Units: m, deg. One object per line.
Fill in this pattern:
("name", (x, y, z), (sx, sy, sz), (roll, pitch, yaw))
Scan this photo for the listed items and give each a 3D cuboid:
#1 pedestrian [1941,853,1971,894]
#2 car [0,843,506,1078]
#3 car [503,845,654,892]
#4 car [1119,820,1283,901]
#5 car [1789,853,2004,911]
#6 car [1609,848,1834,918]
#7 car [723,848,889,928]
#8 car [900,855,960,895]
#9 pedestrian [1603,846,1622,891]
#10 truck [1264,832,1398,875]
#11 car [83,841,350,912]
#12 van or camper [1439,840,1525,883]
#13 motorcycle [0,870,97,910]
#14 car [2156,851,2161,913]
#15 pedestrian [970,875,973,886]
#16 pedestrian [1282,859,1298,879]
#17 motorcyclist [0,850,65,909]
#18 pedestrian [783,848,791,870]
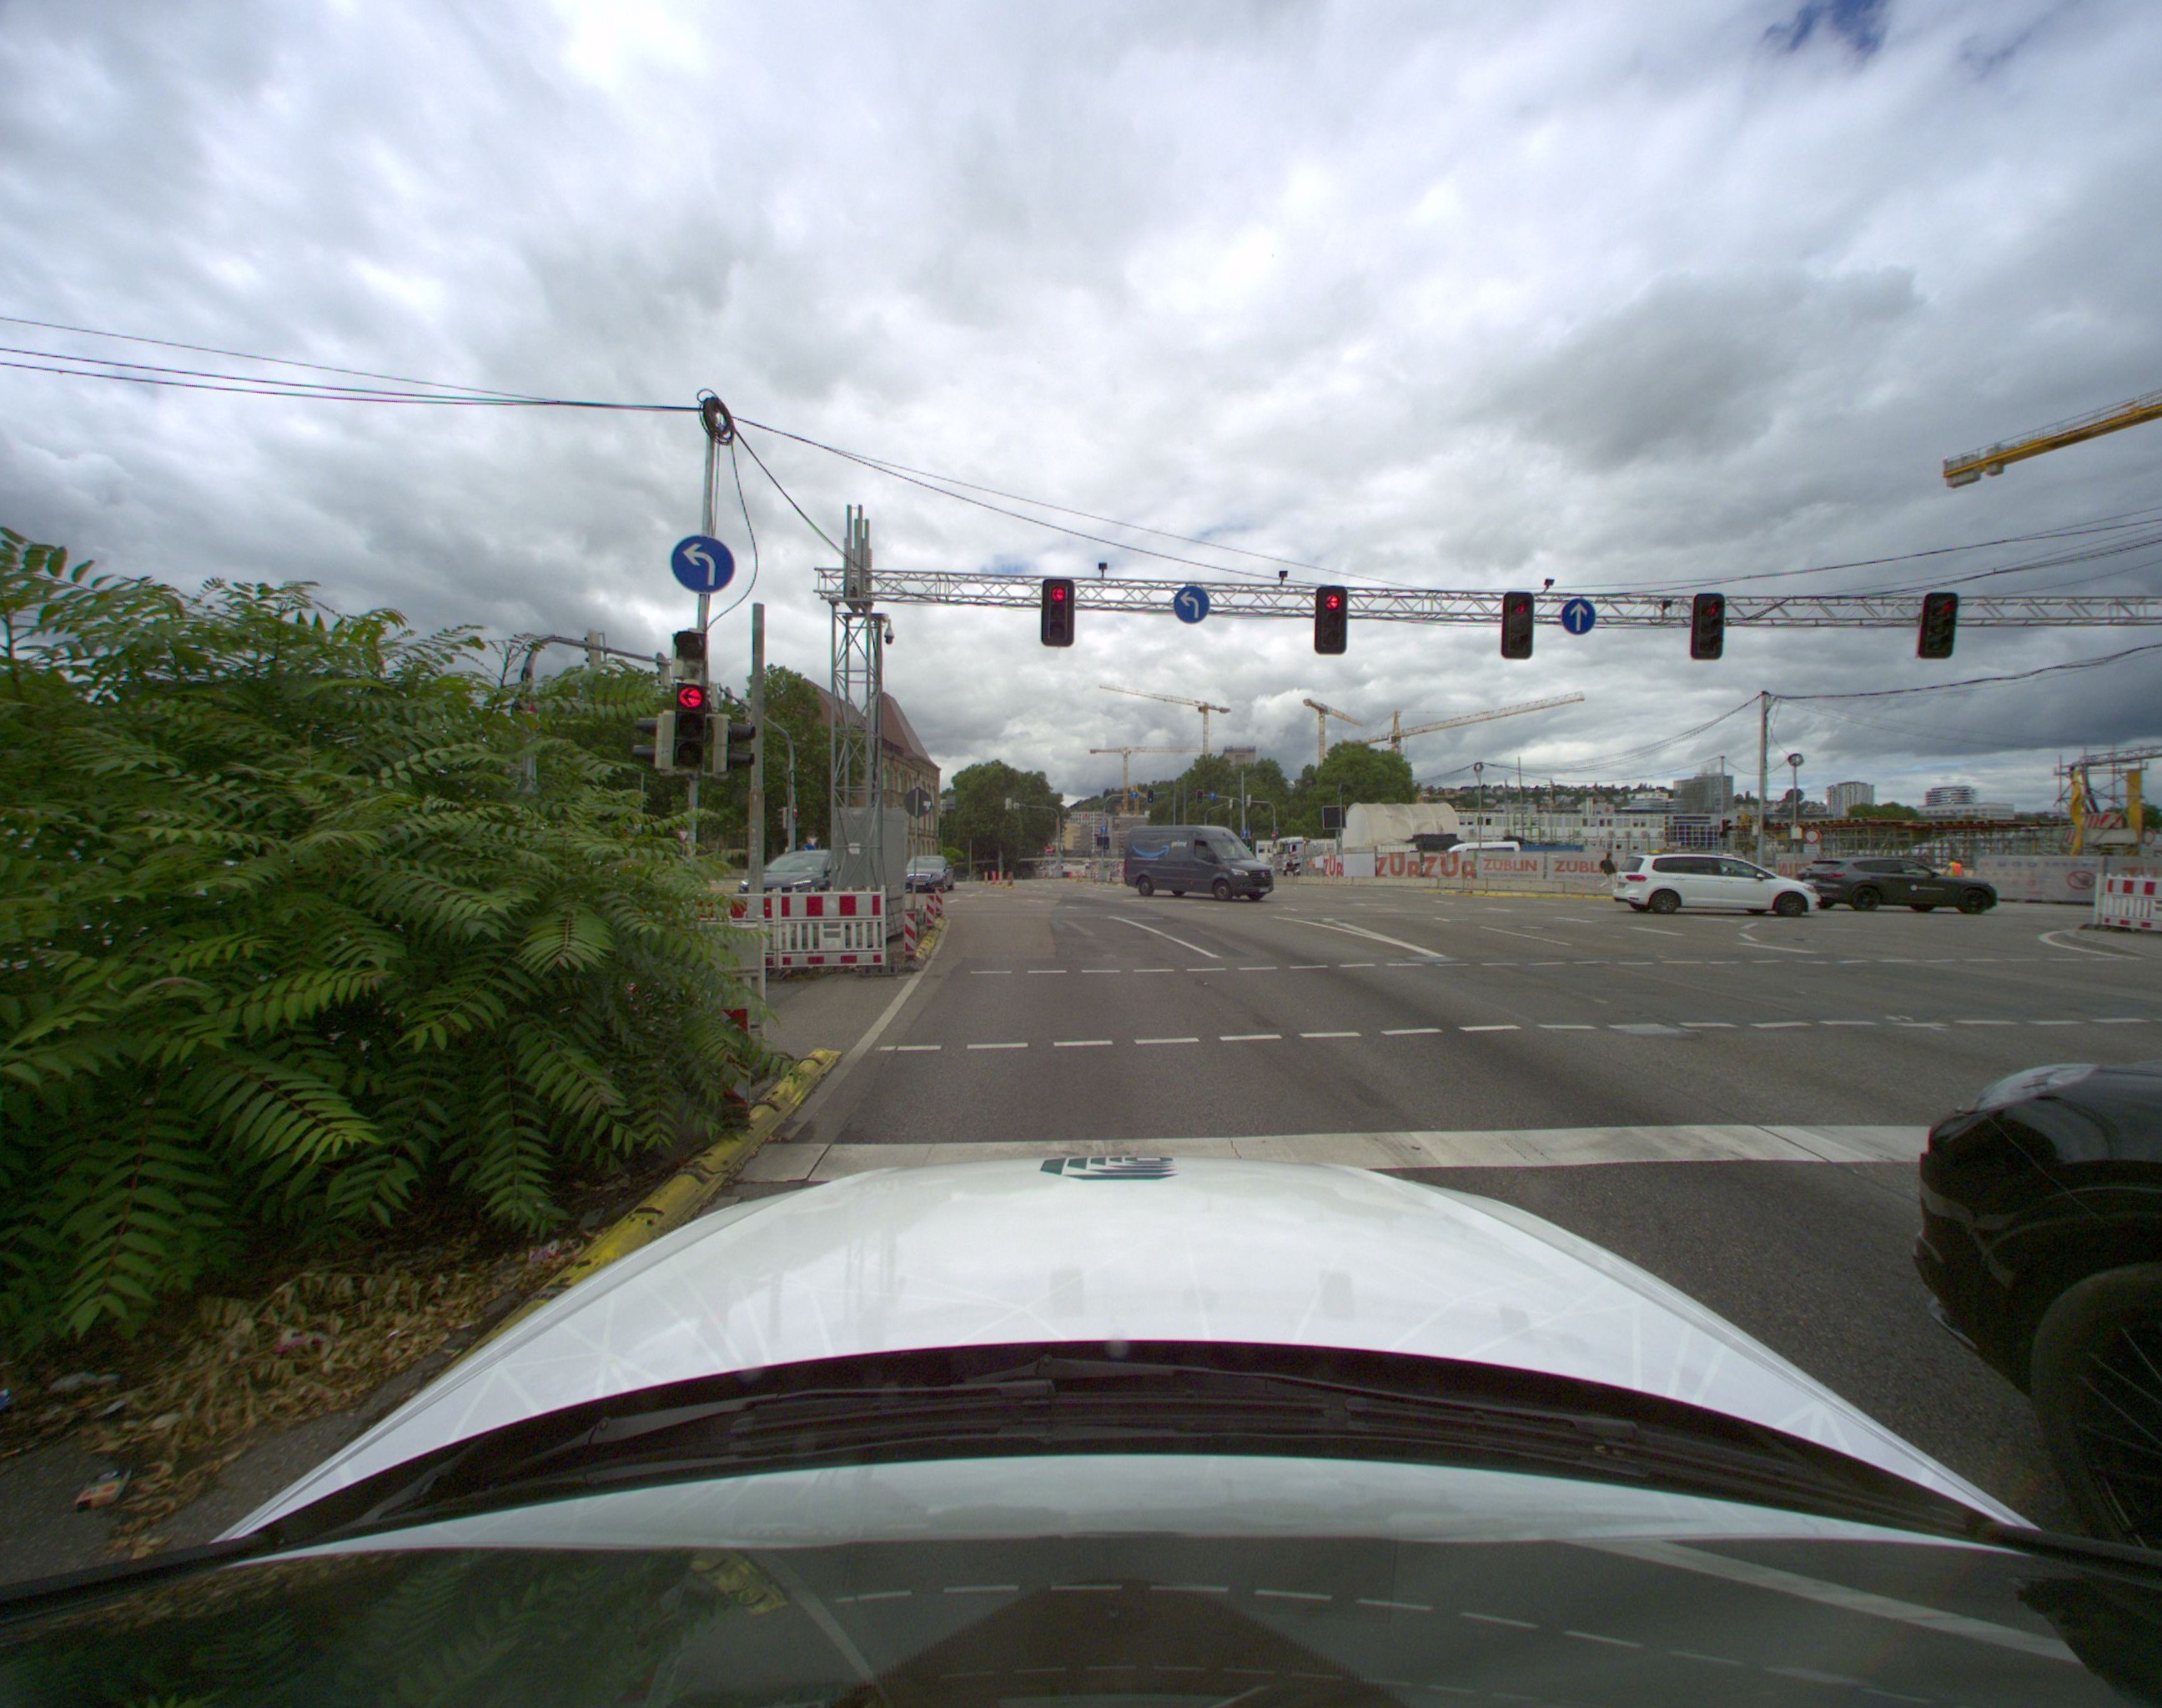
("pedestrian", (38.351, 0.858, 35.692), (0.651, 1.795, 0.617), (0, 0, -7))
("car", (-7.604, 0.729, 7.429), (1.702, 1.513, 4.286), (-2, 0, -2))
("car", (-18.563, 0.513, 30.293), (4.315, 1.676, 1.992), (0, 0, -12))
("car", (4.112, 0.199, 28.988), (2.074, 2.594, 5.943), (0, 0, -40))
("car", (25.201, 0.828, 25.321), (4.569, 1.670, 1.888), (0, 0, 7))
("car", (17.083, 0.720, 21.997), (4.394, 1.736, 1.893), (0, 0, 19))
("car", (-6.397, 0.708, 19.564), (1.867, 1.670, 4.456), (0, 0, 9))
("car", (-6.005, 0.801, 32.813), (1.702, 1.513, 4.286), (0, 0, -1))
("pedestrian", (24.060, 0.636, 36.882), (0.645, 2.013, 0.520), (0, 0, 27))
("truck", (25.028, -0.034, 81.580), (13.062, 4.041, 3.926), (0, 0, -18))
("car", (-21.300, 0.538, 20.241), (4.302, 1.676, 1.998), (0, 0, -3))
("van or camper", (23.145, 0.420, 47.193), (4.181, 2.357, 2.009), (0, 0, 16))
("motorcycle", (-25.476, 0.865, 19.799), (2.051, 0.924, 0.756), (0, 0, -4))
("car", (30.693, 0.757, 20.816), (4.037, 1.668, 1.801), (0, 0, 1))
("pedestrian", (-21.473, 5.176, 159.262), (0.522, 2.014, 0.567), (0, 0, 2))
("pedestrian", (14.603, 1.049, 56.836), (0.796, 1.378, 0.902), (0, 0, -9))
("motorcyclist", (-25.660, 0.607, 19.781), (0.963, 1.423, 0.745), (0, 0, -4))
("pedestrian", (-26.794, 0.429, 74.173), (0.530, 2.014, 0.423), (1, -1, -42))
